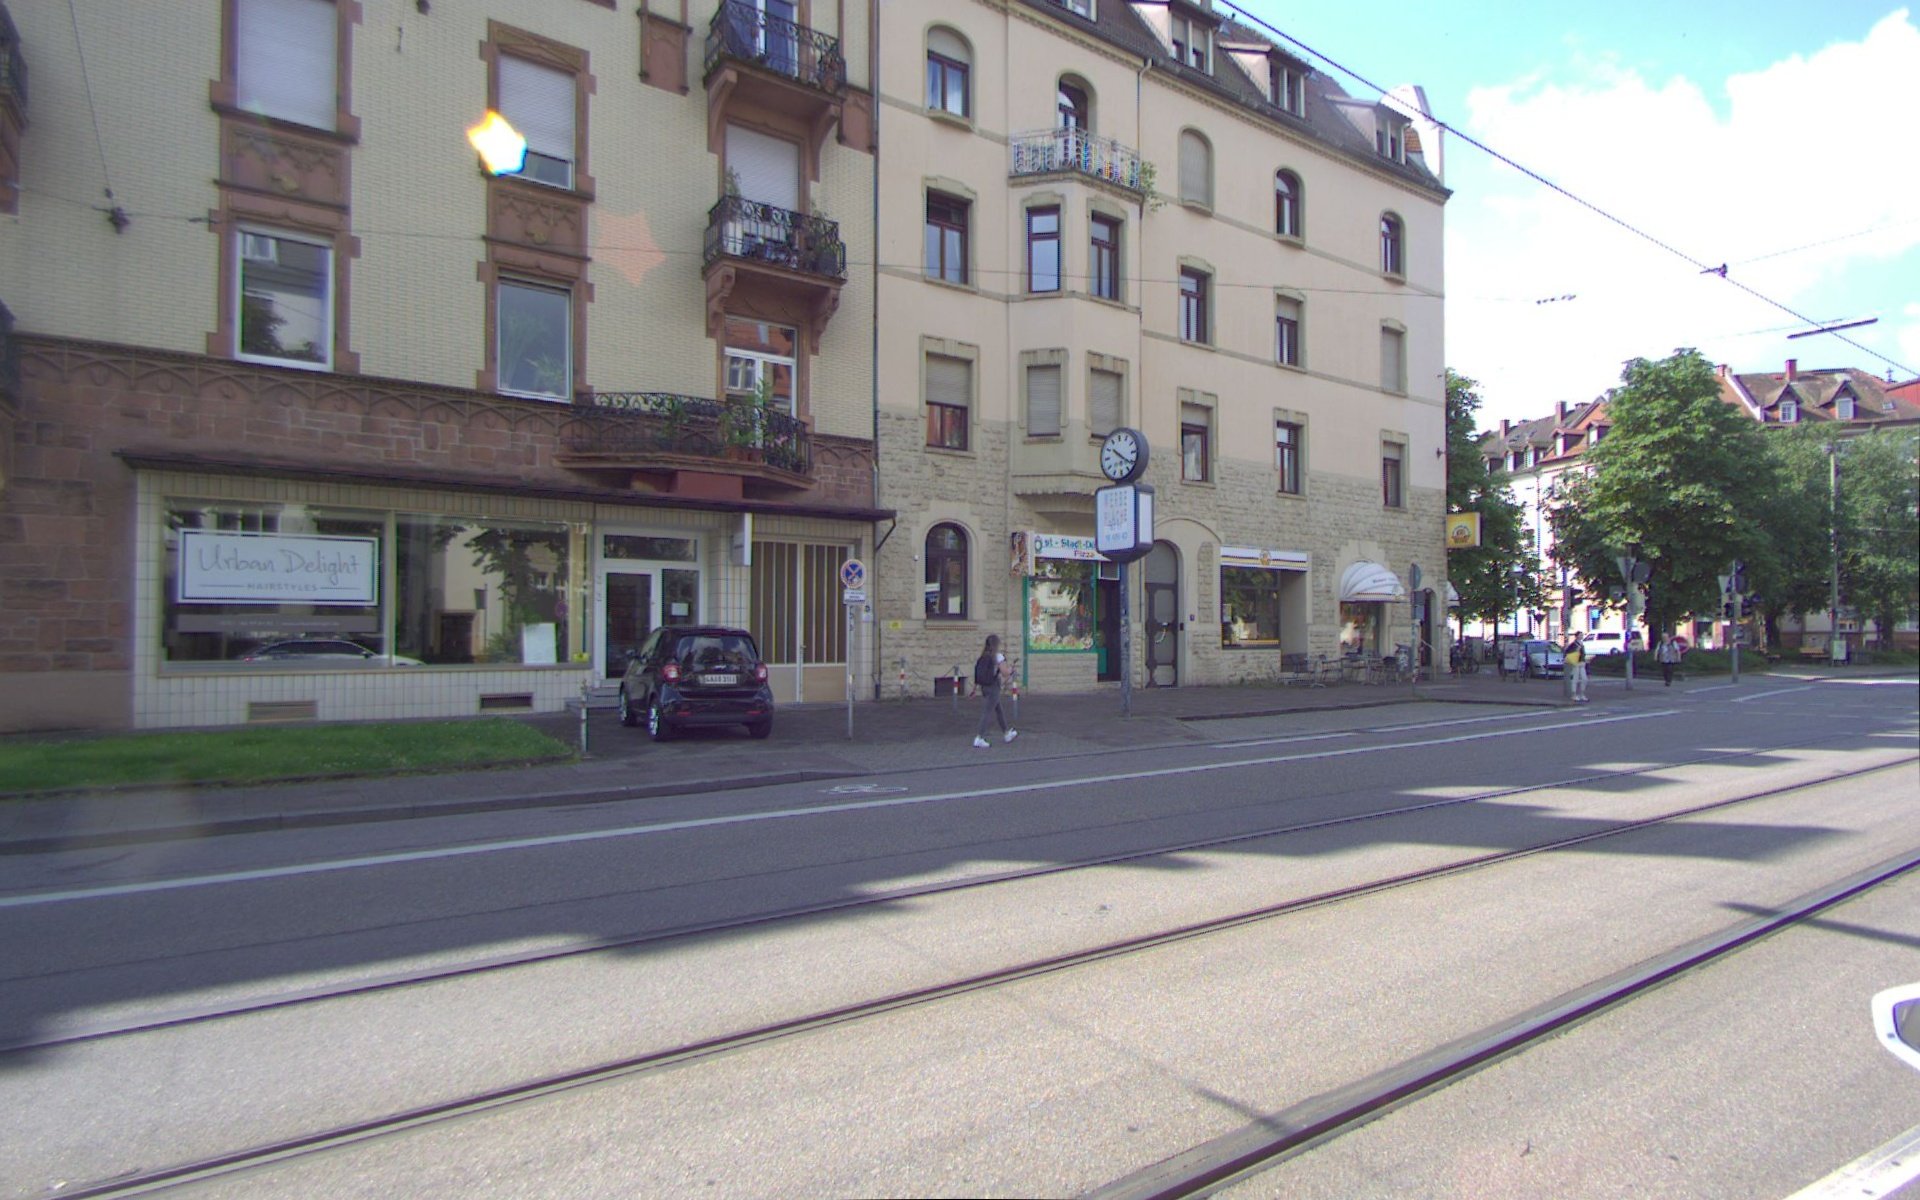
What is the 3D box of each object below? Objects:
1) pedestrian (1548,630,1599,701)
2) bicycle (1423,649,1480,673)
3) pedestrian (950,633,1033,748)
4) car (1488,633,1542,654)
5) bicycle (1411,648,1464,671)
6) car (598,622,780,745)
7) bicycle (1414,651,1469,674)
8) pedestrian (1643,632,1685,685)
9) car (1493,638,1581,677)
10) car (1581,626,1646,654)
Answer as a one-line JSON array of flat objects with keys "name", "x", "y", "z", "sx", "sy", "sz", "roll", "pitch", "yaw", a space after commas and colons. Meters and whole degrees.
[{"name": "pedestrian", "x": 15.712, "y": 1.653, "z": 25.739, "sx": 0.865, "sy": 1.727, "sz": 0.751, "roll": 1, "pitch": 2, "yaw": -34}, {"name": "bicycle", "x": 19.966, "y": 2.488, "z": 40.844, "sx": 1.990, "sy": 0.894, "sz": 0.523, "roll": 1, "pitch": -2, "yaw": 13}, {"name": "pedestrian", "x": 0.460, "y": 1.289, "z": 14.638, "sx": 0.956, "sy": 1.562, "sz": 0.687, "roll": 1, "pitch": 2, "yaw": -43}, {"name": "car", "x": 46.202, "y": 3.616, "z": 83.652, "sx": 1.882, "sy": 1.685, "sz": 3.934, "roll": 0, "pitch": -2, "yaw": -11}, {"name": "bicycle", "x": 20.584, "y": 2.561, "z": 43.357, "sx": 1.990, "sy": 0.894, "sz": 0.512, "roll": 1, "pitch": -2, "yaw": 13}, {"name": "car", "x": -4.107, "y": 1.124, "z": 14.882, "sx": 1.687, "sy": 1.506, "sz": 3.425, "roll": 1, "pitch": 0, "yaw": -32}, {"name": "bicycle", "x": 20.211, "y": 2.601, "z": 42.172, "sx": 1.990, "sy": 0.894, "sz": 0.512, "roll": 1, "pitch": -2, "yaw": 13}, {"name": "pedestrian", "x": 22.712, "y": 1.872, "z": 32.394, "sx": 0.813, "sy": 1.694, "sz": 0.850, "roll": 1, "pitch": -2, "yaw": -32}, {"name": "car", "x": 22.056, "y": 2.170, "z": 38.575, "sx": 1.686, "sy": 1.439, "sz": 3.876, "roll": 0, "pitch": -2, "yaw": 10}, {"name": "car", "x": 47.975, "y": 2.896, "z": 73.868, "sx": 1.823, "sy": 2.015, "sz": 3.942, "roll": 0, "pitch": -2, "yaw": -10}]
